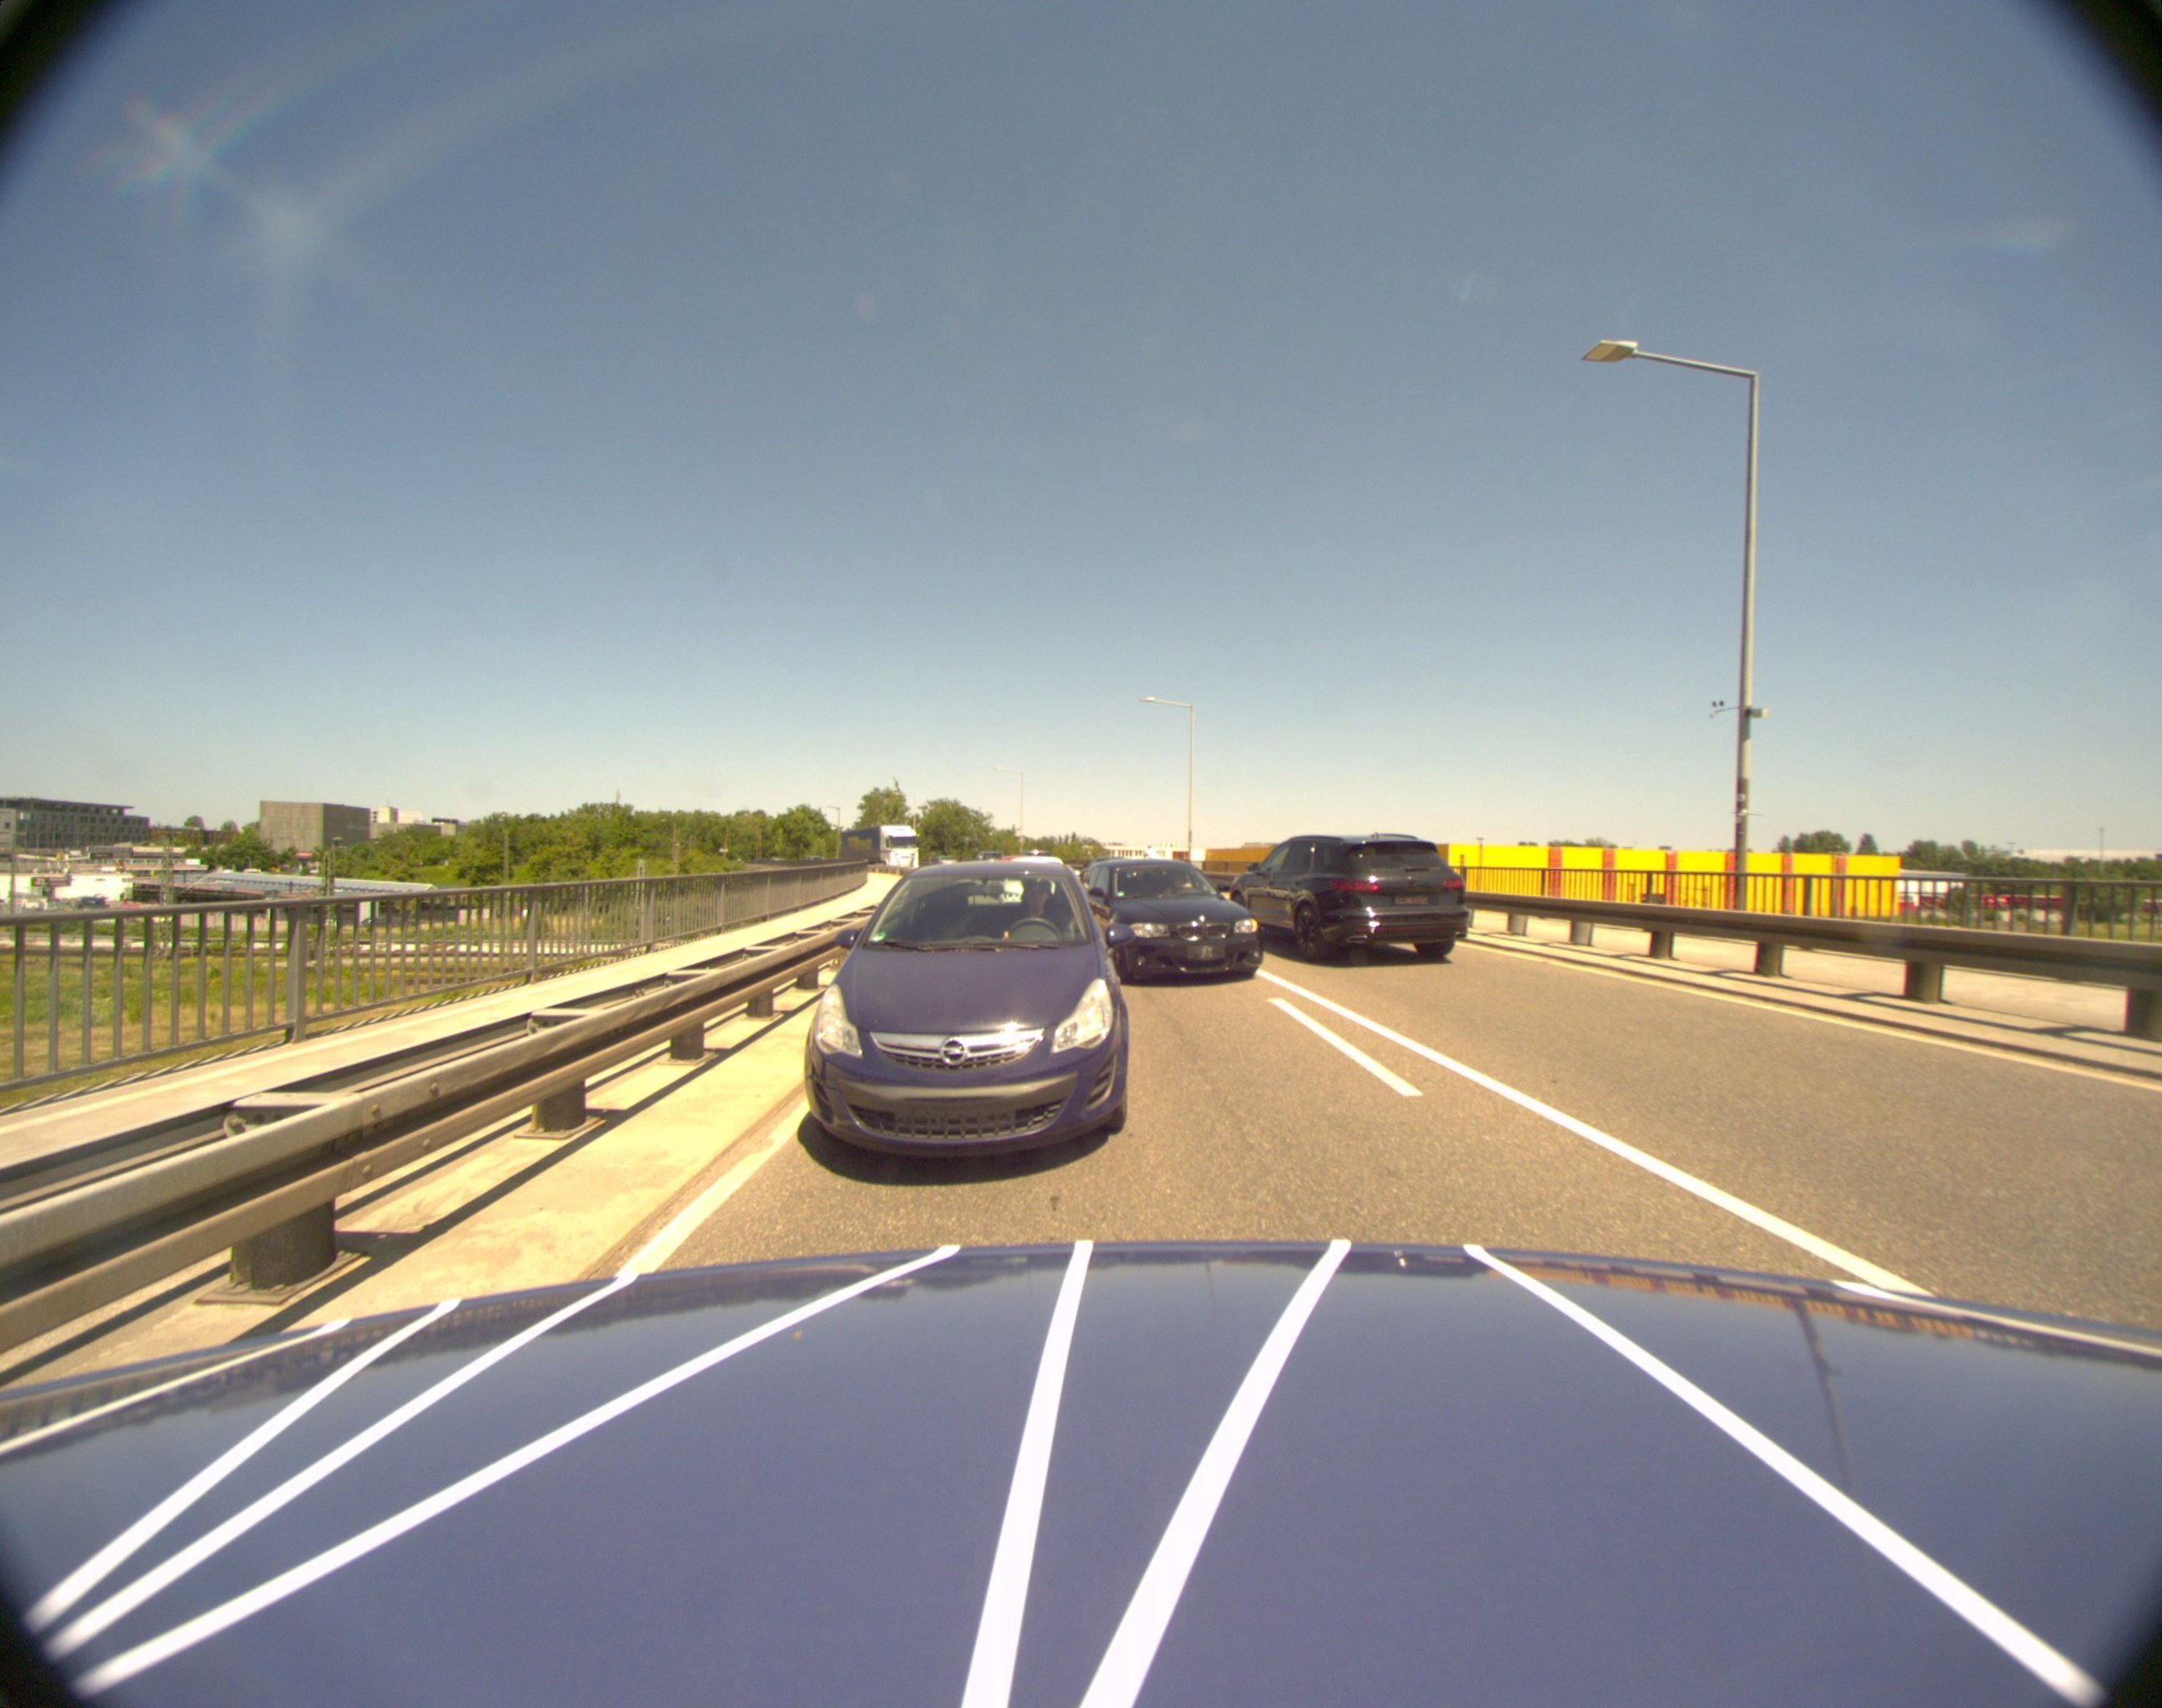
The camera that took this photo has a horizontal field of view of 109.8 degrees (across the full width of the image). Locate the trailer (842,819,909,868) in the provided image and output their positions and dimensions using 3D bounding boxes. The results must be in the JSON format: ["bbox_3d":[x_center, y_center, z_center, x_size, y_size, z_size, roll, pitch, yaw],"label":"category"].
[{"bbox_3d":[-19.640,-1.002,71.989,2.706,4.211,12.681,-3,2,-30],"label":"trailer"}]

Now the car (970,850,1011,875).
[{"bbox_3d":[-6.450,0.559,53.733,1.809,1.631,4.292,-1,1,-22],"label":"car"}]

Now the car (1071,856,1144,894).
[{"bbox_3d":[0.934,0.771,29.389,1.685,1.300,3.967,-1,0,-16],"label":"car"}]

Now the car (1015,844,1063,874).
[{"bbox_3d":[-2.444,0.249,43.426,1.713,1.617,4.245,-1,1,-18],"label":"car"}]

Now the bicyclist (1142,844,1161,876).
[{"bbox_3d":[3.402,0.281,36.602,0.585,1.512,0.895,-1,1,-15],"label":"bicyclist"}]

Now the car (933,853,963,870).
[{"bbox_3d":[-11.516,0.641,65.684,1.704,1.368,3.992,-1,1,-22],"label":"car"}]

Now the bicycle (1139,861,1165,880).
[{"bbox_3d":[3.406,0.789,36.621,0.590,0.828,1.989,-1,1,-14],"label":"bicycle"}]

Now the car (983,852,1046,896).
[{"bbox_3d":[-2.524,0.664,27.928,1.796,1.446,4.518,-1,0,-11],"label":"car"}]

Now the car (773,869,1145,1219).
[{"bbox_3d":[-0.664,0.899,5.474,1.645,1.431,3.998,-2,1,-4],"label":"car"}]

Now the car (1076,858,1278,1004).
[{"bbox_3d":[1.032,0.832,10.428,1.795,1.447,4.520,-1,1,-5],"label":"car"}]

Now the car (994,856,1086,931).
[{"bbox_3d":[-1.091,0.812,18.027,1.795,1.447,4.519,-2,1,-7],"label":"car"}]

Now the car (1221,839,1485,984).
[{"bbox_3d":[3.707,0.672,11.434,1.972,1.664,4.611,-2,1,-5],"label":"car"}]

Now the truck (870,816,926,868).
[{"bbox_3d":[-15.916,-1.004,65.666,2.700,4.205,6.822,-3,2,-30],"label":"truck"}]
